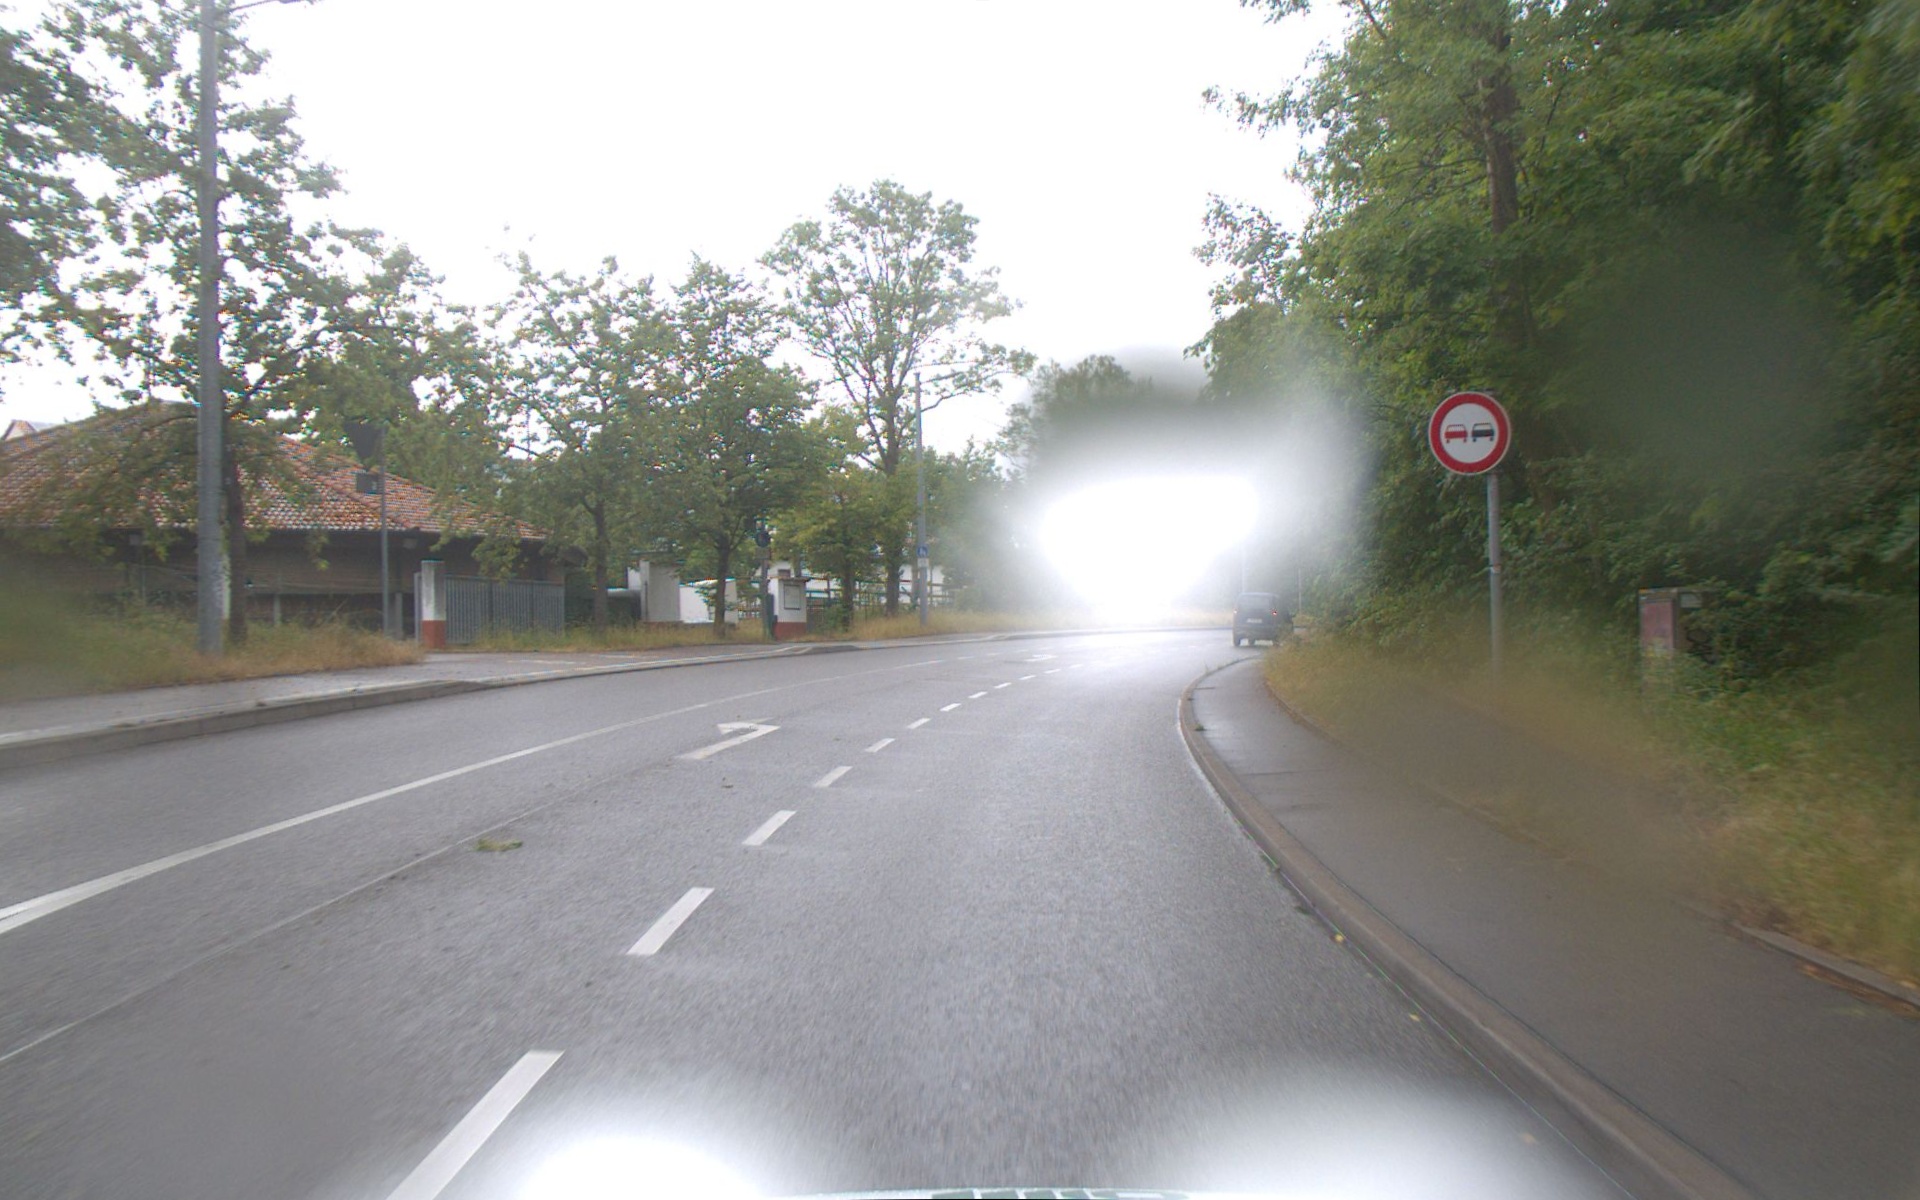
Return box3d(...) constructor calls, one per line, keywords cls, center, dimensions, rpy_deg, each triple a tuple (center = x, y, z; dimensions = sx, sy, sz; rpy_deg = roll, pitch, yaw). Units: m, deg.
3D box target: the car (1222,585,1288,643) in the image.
box3d(cls="car", center=(10.394, 0.501, 58.055), dimensions=(1.789, 1.825, 4.003), rpy_deg=(-5, -2, 16))
